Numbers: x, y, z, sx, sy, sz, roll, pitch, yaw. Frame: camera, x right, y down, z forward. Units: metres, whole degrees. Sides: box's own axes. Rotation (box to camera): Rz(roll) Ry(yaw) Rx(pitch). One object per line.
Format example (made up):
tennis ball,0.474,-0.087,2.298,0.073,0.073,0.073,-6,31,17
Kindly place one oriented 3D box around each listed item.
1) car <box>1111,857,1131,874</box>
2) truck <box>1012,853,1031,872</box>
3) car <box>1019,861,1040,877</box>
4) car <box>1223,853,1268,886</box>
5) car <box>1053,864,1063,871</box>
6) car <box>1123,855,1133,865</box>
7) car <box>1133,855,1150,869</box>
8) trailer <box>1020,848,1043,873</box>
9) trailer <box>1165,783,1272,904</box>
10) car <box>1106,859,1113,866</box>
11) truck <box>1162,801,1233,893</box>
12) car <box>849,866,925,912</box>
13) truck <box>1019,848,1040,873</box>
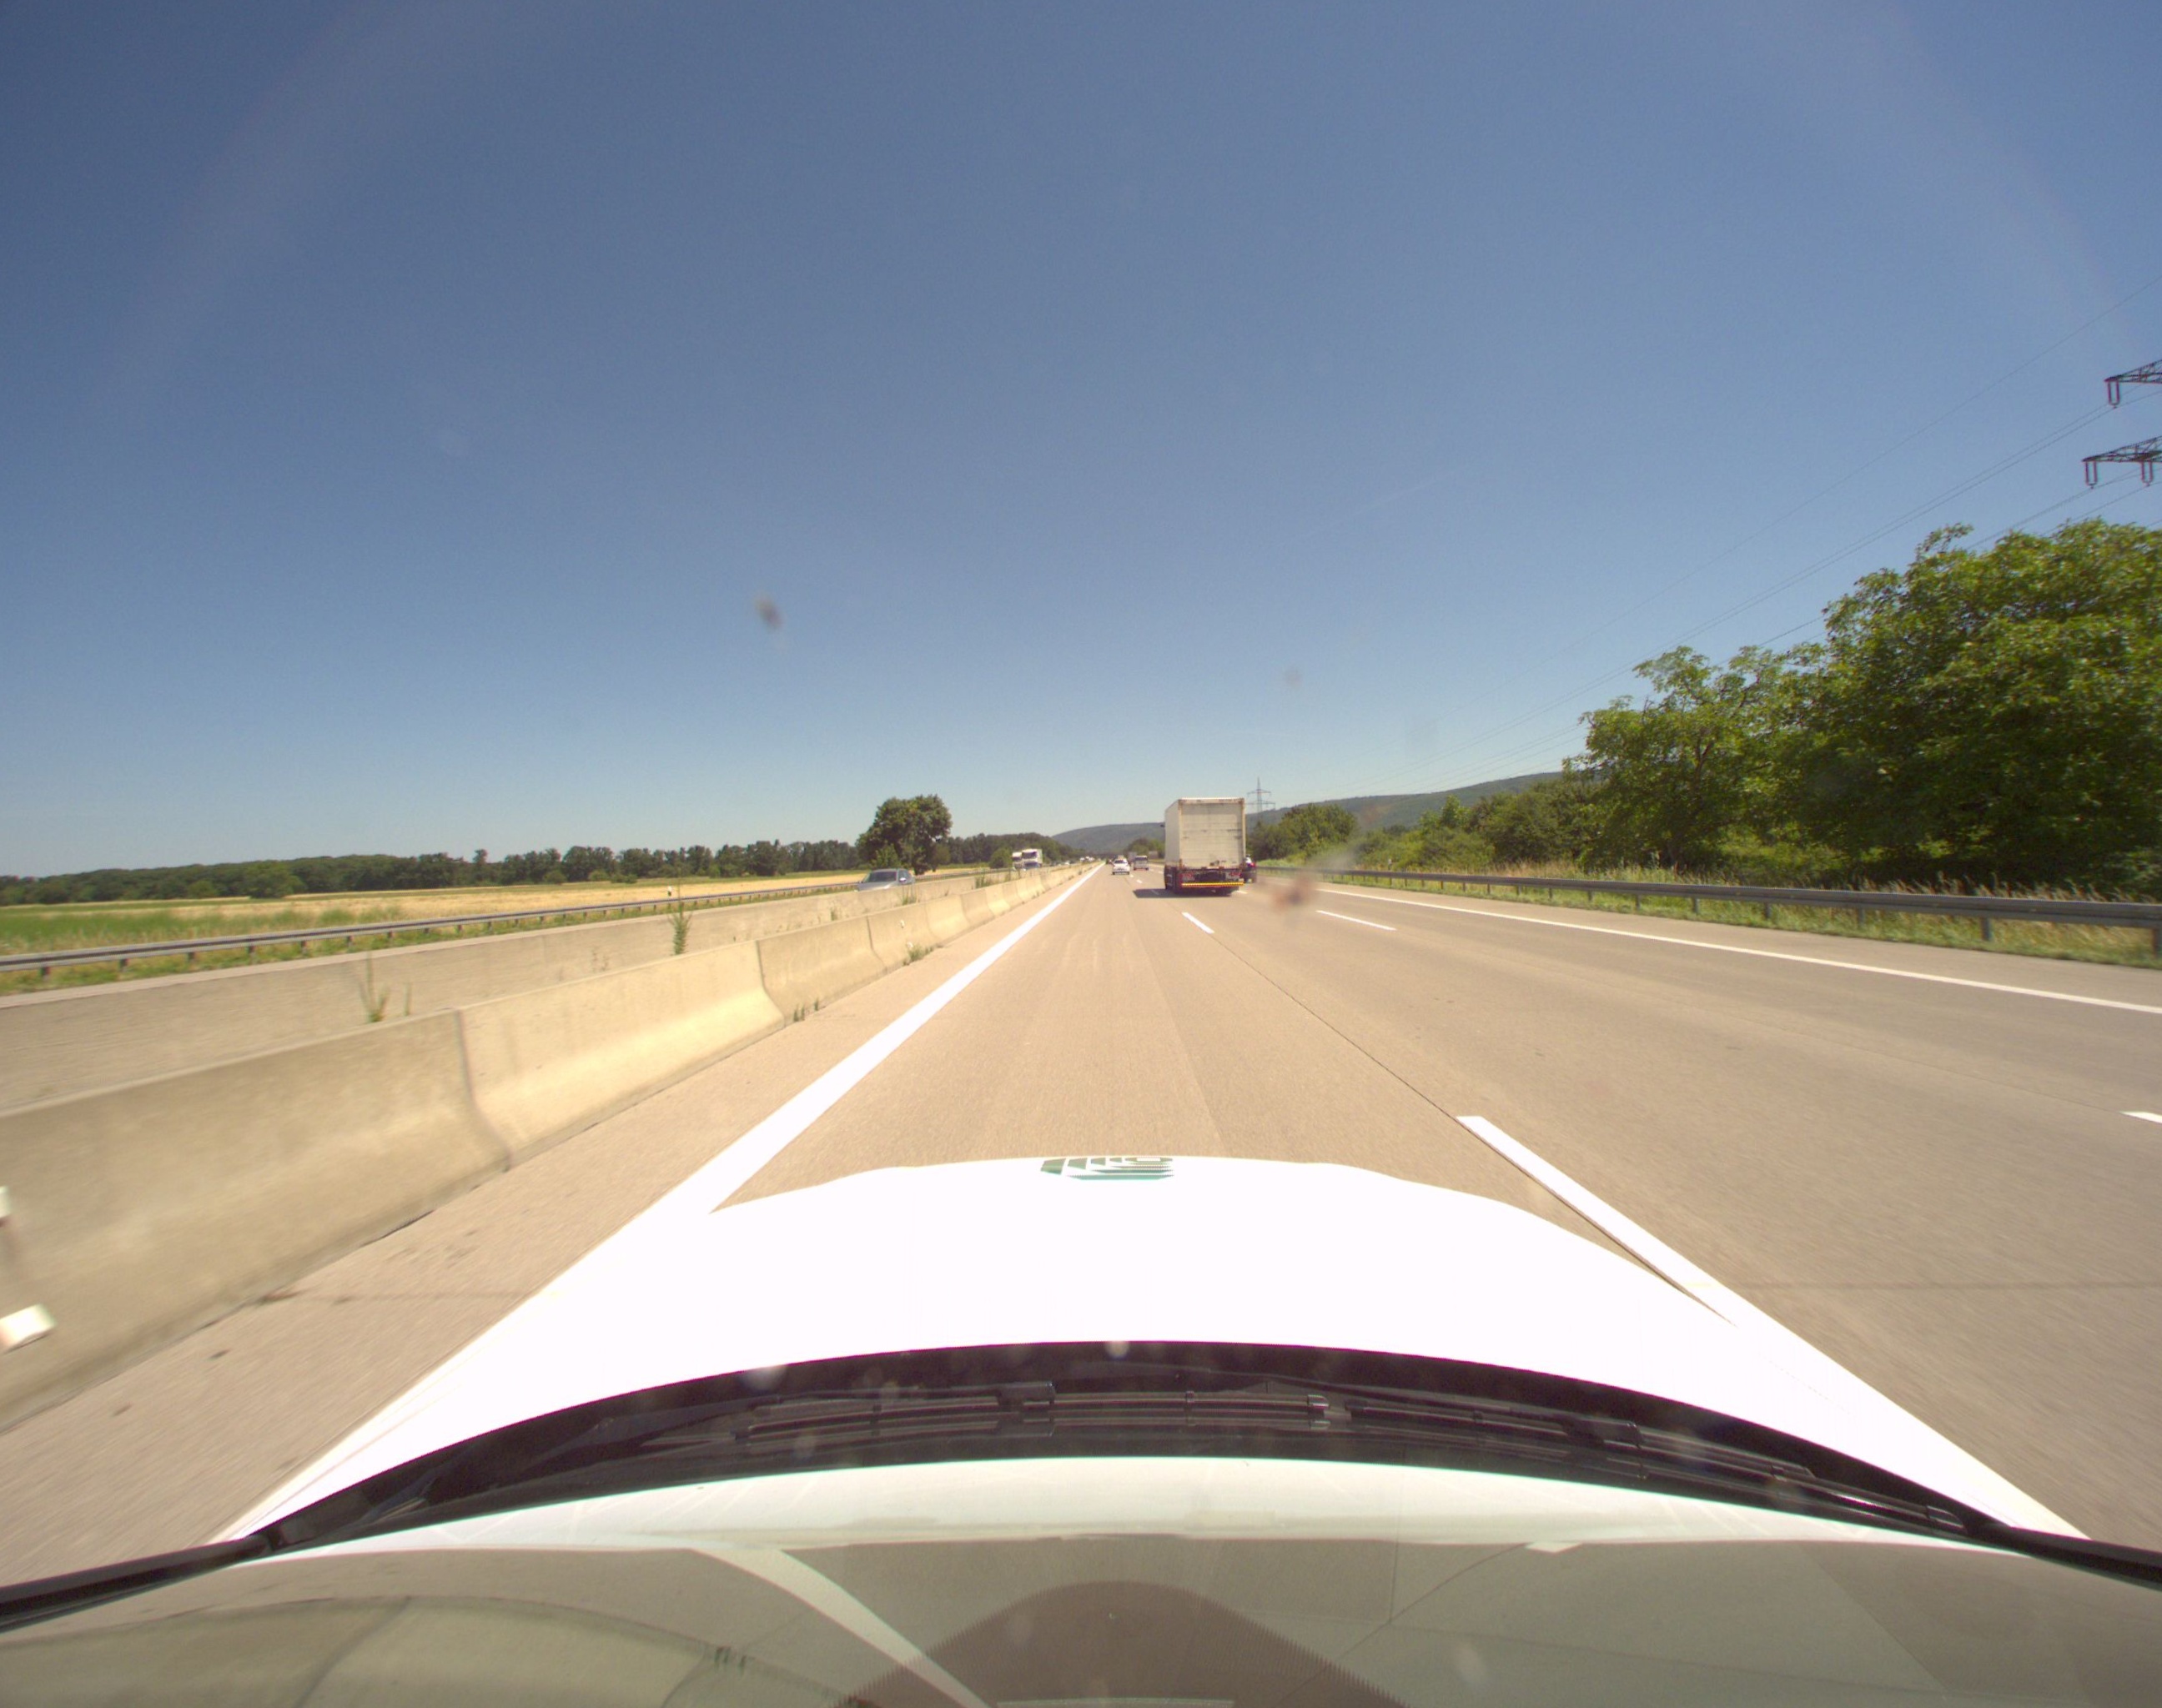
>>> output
car,3.949,1.113,81.087,1.813,1.662,4.001,-1,0,1
truck,-11.451,1.625,156.996,2.792,3.687,7.239,-1,0,2
car,-5.621,1.627,89.960,1.856,1.729,4.143,-1,0,3
car,9.875,0.916,49.059,1.986,1.849,4.001,1,0,1
car,-5.861,3.439,207.925,1.986,1.717,5.027,0,0,2
car,9.822,1.262,169.736,1.987,1.849,4.000,1,0,1
car,8.081,1.038,108.862,1.986,1.849,4.001,0,0,1
trailer,-8.093,1.039,134.054,2.890,3.970,8.480,-1,0,2
trailer,5.004,-0.311,31.564,2.571,3.878,10.375,-1,0,1
car,7.980,2.461,230.841,1.922,1.794,4.001,-1,0,1
truck,5.140,-0.278,36.810,2.572,3.878,4.985,-1,-1,1
car,-7.933,1.381,33.691,1.875,1.695,4.684,-1,0,2
truck,-8.190,0.999,130.414,2.890,3.970,5.047,-1,-1,1
